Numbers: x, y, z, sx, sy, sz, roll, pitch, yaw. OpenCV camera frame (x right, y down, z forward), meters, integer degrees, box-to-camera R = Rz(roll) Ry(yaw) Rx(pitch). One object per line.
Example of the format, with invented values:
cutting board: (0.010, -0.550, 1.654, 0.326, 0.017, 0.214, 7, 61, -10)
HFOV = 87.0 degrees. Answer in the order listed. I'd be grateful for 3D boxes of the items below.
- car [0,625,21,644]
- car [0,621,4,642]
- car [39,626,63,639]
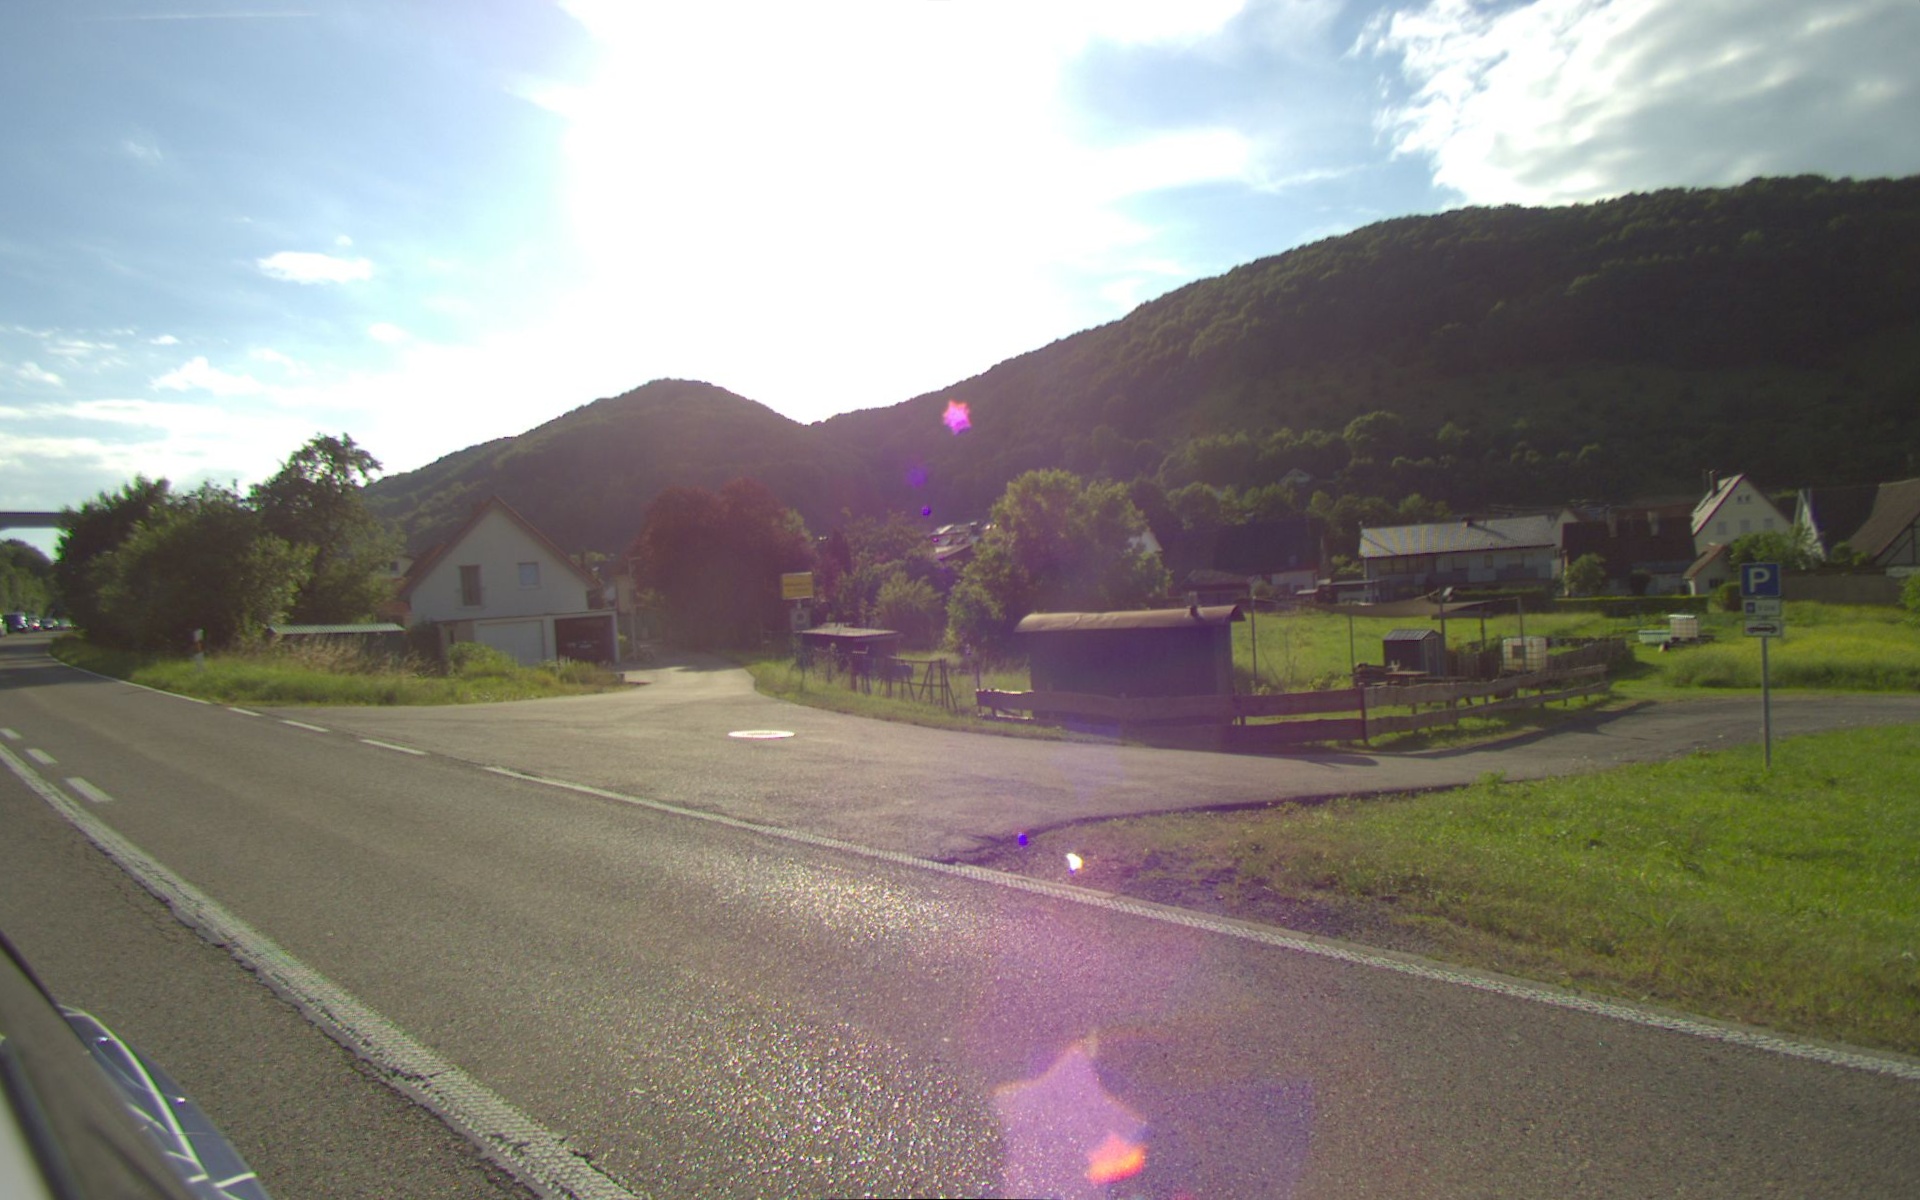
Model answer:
car: (-83.144, 2.960, 88.079, 1.791, 1.630, 4.006, 1, -1, -40)
car: (-74.053, 2.380, 76.865, 1.791, 1.630, 4.007, 1, -1, -39)
car: (-114.152, 4.057, 127.119, 1.813, 1.564, 4.187, 0, -1, -36)
